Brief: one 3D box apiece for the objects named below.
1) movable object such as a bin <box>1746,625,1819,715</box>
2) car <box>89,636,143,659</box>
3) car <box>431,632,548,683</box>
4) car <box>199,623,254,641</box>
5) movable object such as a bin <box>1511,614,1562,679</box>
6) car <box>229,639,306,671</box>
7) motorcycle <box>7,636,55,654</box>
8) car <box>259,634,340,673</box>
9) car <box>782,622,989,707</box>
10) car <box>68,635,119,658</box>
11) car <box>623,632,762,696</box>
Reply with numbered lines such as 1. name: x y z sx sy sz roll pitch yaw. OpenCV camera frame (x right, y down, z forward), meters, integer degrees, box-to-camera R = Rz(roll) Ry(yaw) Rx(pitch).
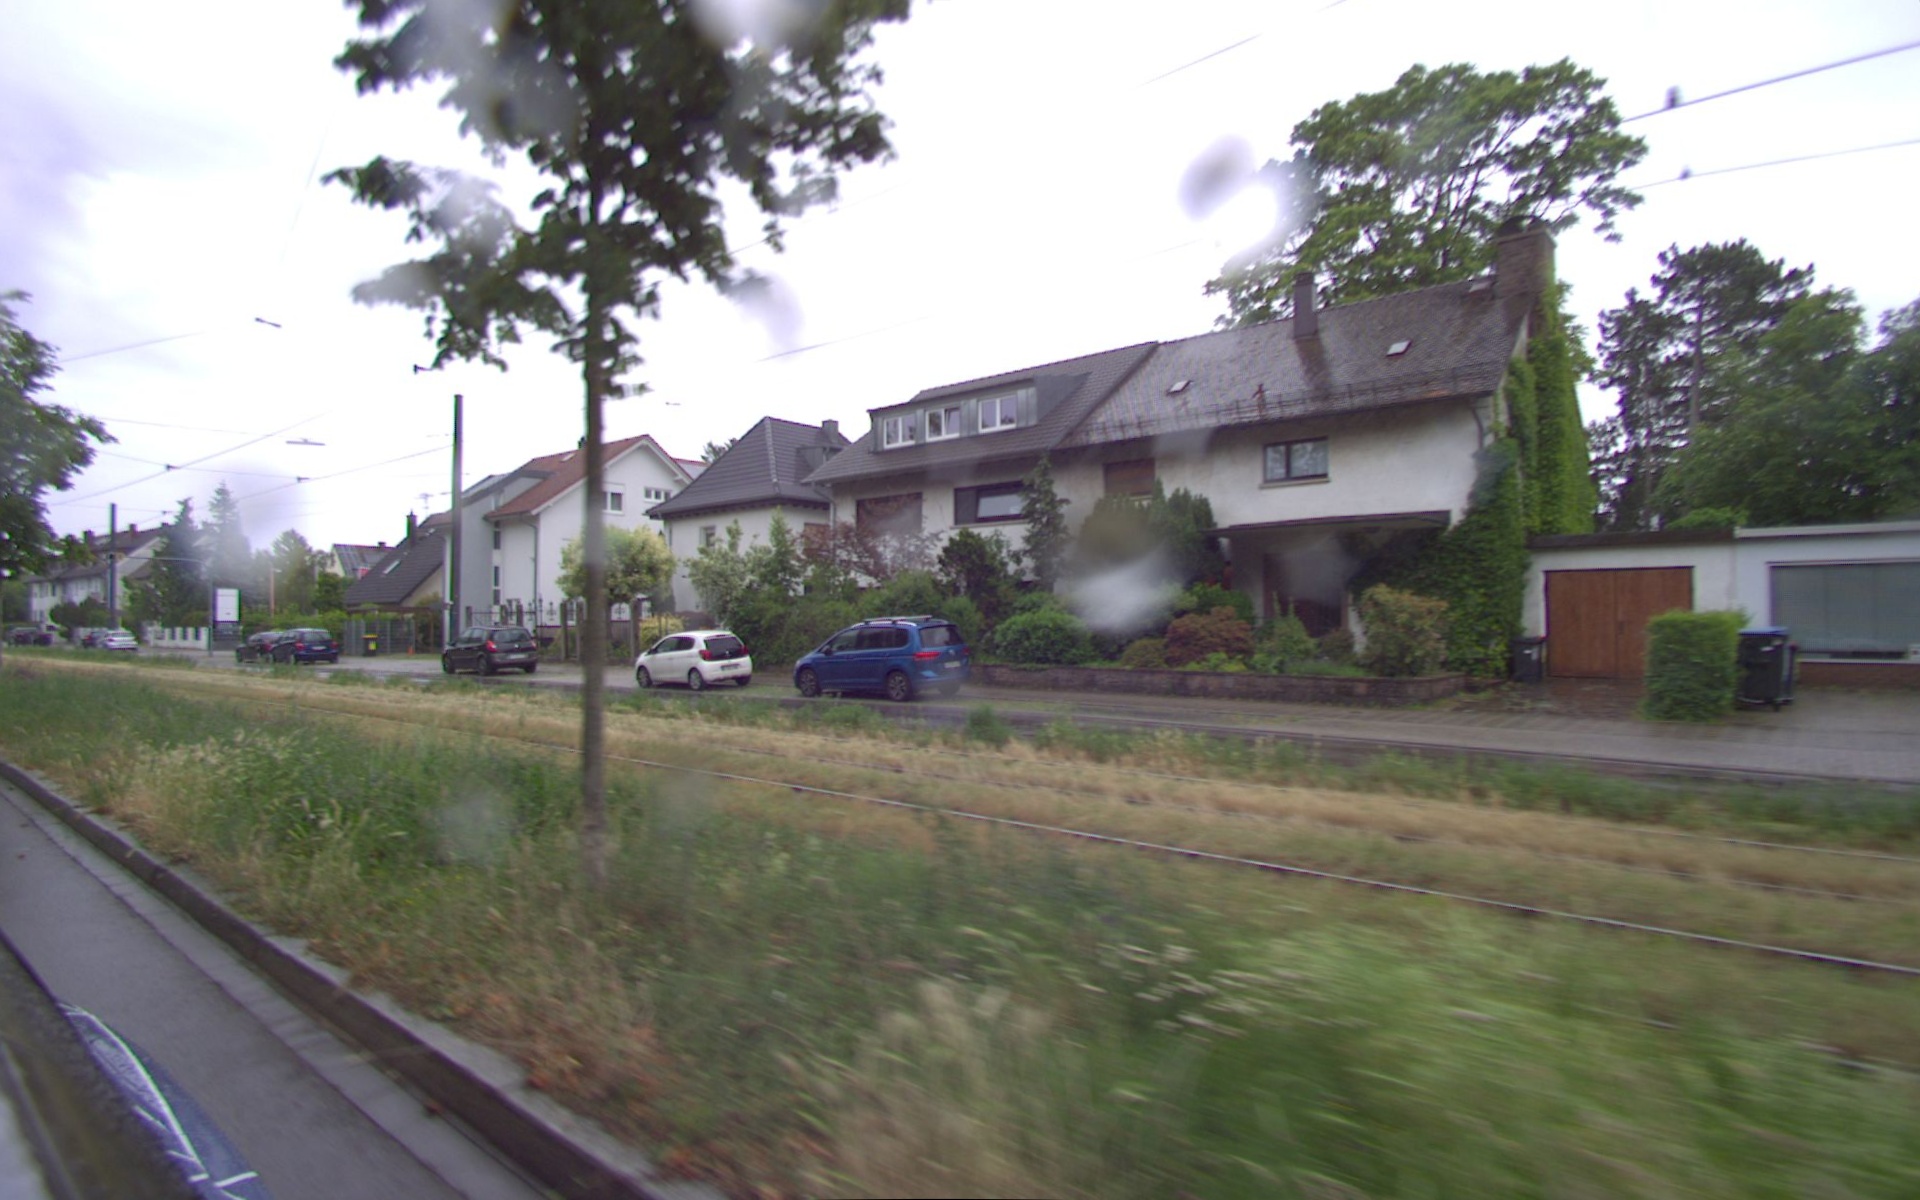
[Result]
1. movable object such as a bin: 12.840 1.066 15.791 0.851 1.304 0.832 -1 1 41
2. car: -55.425 3.103 66.447 3.966 1.421 1.974 -2 -1 38
3. car: -15.869 1.905 34.045 4.202 1.528 1.973 -2 -1 40
4. car: -69.265 2.981 95.630 1.701 1.551 3.921 -2 -1 37
5. movable object such as a bin: 12.108 0.954 21.248 0.771 1.304 0.801 -1 1 41
6. car: -32.980 2.599 48.157 4.237 1.361 1.973 -2 -1 40
7. motorcycle: -76.253 3.697 83.060 2.644 1.421 1.269 -1 0 -9
8. car: -29.367 2.357 44.969 3.865 1.562 1.856 -2 -1 39
9. car: -1.715 1.367 22.267 4.410 1.626 1.973 -2 -1 40
10. car: -59.581 3.204 69.576 4.527 1.466 1.973 -2 -1 40
11. car: -7.071 1.645 26.660 3.594 1.500 1.778 -2 -1 40
